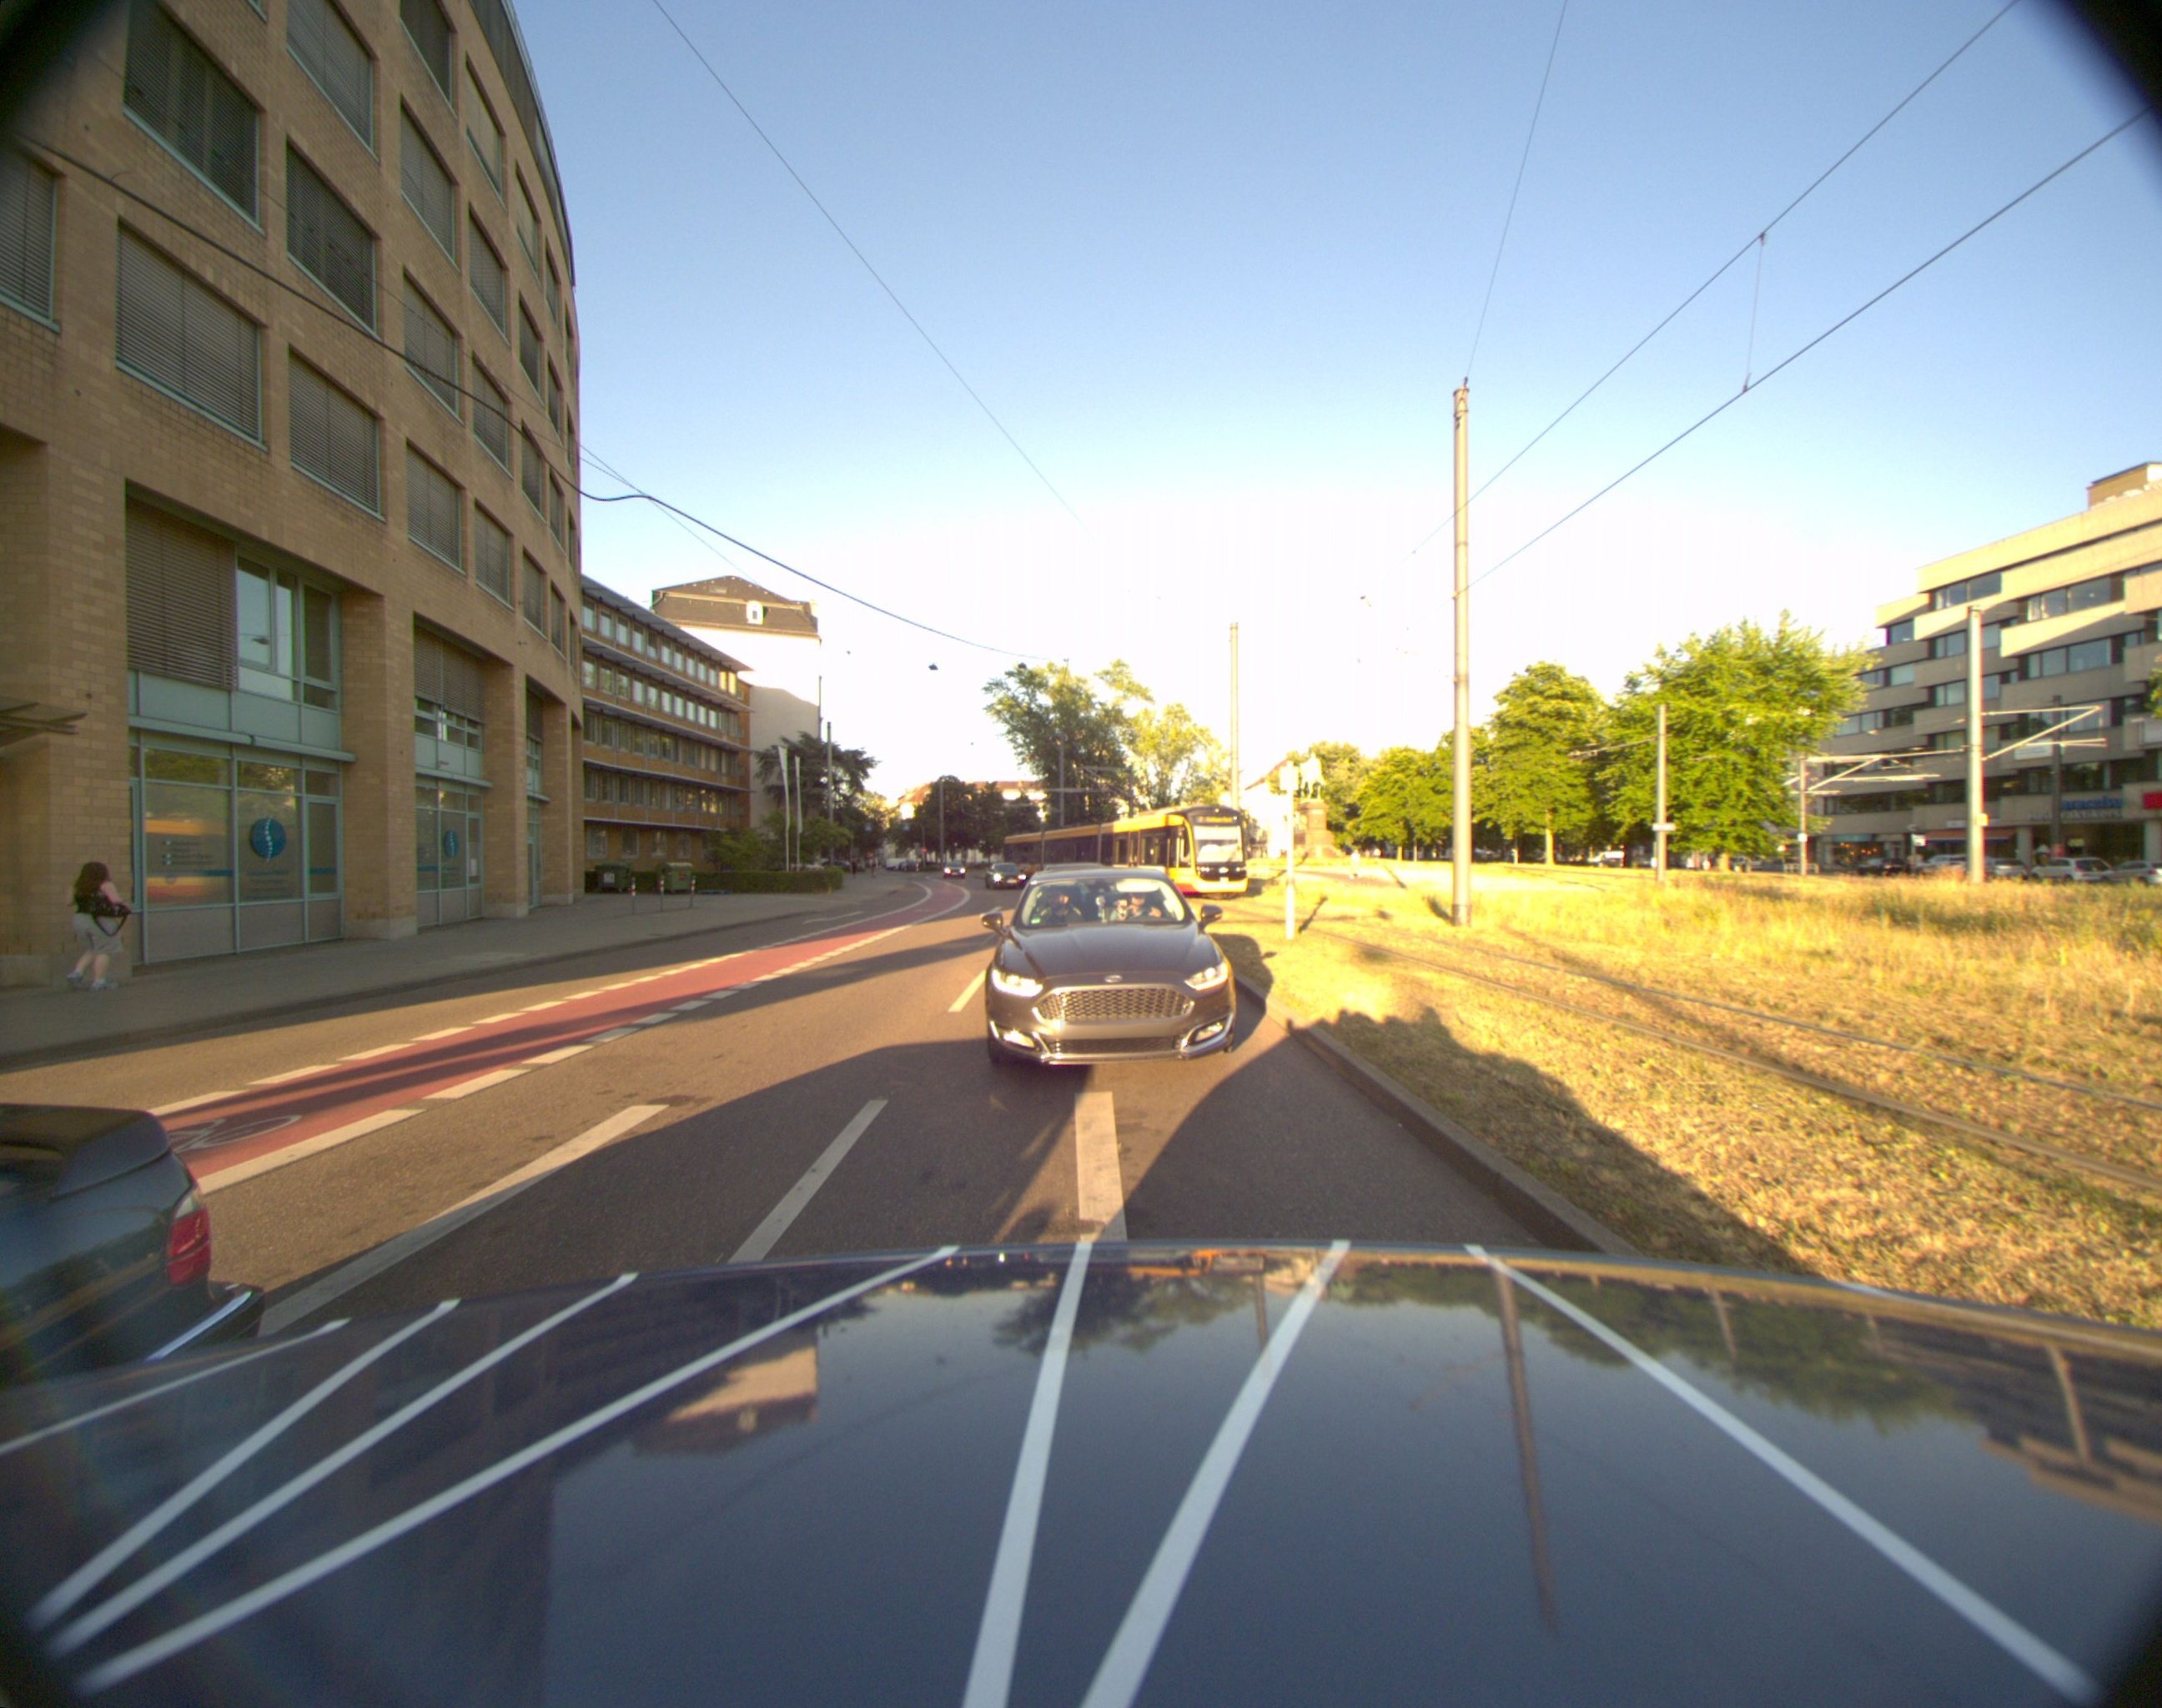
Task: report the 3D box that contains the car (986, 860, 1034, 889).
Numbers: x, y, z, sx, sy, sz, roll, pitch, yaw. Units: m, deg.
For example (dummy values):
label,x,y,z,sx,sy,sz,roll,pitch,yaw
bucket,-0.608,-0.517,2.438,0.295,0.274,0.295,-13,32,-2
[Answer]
label,x,y,z,sx,sy,sz,roll,pitch,yaw
car,-3.953,1.071,41.854,2.001,1.453,4.138,-1,0,-14

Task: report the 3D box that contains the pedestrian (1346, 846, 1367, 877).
label,x,y,z,sx,sy,sz,roll,pitch,yaw
pedestrian,15.479,0.394,42.692,0.891,1.718,0.797,-1,1,1

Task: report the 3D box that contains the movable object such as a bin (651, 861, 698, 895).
label,x,y,z,sx,sy,sz,roll,pitch,yaw
movable object such as a bin,-18.271,1.057,34.205,1.427,1.450,1.332,-1,0,-3

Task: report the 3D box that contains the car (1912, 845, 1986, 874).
label,x,y,z,sx,sy,sz,roll,pitch,yaw
car,61.332,0.378,53.774,1.995,1.925,4.007,-1,0,24

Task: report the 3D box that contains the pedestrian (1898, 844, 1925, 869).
label,x,y,z,sx,sy,sz,roll,pitch,yaw
pedestrian,65.754,0.194,60.172,1.138,2.023,0.892,-1,1,3

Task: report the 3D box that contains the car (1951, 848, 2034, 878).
label,x,y,z,sx,sy,sz,roll,pitch,yaw
car,58.830,0.563,49.144,1.995,1.868,4.007,0,0,27

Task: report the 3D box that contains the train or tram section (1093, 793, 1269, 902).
label,x,y,z,sx,sy,sz,roll,pitch,yaw
train or tram section,3.588,-0.242,32.552,2.919,3.717,13.202,-1,0,-13

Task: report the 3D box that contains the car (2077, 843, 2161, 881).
label,x,y,z,sx,sy,sz,roll,pitch,yaw
car,54.164,0.393,38.998,1.921,1.853,4.006,-1,0,23

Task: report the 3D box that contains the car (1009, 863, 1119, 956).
label,x,y,z,sx,sy,sz,roll,pitch,yaw
car,-0.250,0.989,15.452,1.897,1.526,4.705,-1,0,1

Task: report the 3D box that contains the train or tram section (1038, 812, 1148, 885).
label,x,y,z,sx,sy,sz,roll,pitch,yaw
train or tram section,0.311,-0.301,44.939,2.889,3.717,12.165,-1,0,-17

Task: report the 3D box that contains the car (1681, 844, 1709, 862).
label,x,y,z,sx,sy,sz,roll,pitch,yaw
car,72.163,-0.161,89.384,1.995,2.002,4.007,-2,1,32

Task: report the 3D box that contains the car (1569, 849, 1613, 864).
label,x,y,z,sx,sy,sz,roll,pitch,yaw
car,61.652,0.271,91.962,3.992,1.745,1.970,-1,0,16

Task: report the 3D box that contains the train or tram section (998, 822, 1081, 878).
label,x,y,z,sx,sy,sz,roll,pitch,yaw
train or tram section,-3.381,-0.267,56.257,2.917,3.717,12.171,-1,0,-19

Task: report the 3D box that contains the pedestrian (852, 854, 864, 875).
label,x,y,z,sx,sy,sz,roll,pitch,yaw
pedestrian,-18.773,0.864,63.880,0.728,1.797,0.724,-1,1,1

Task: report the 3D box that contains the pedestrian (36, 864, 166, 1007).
label,x,y,z,sx,sy,sz,roll,pitch,yaw
pedestrian,-12.039,0.973,9.357,0.628,1.672,0.713,-1,1,-3

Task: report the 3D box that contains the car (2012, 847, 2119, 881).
label,x,y,z,sx,sy,sz,roll,pitch,yaw
car,56.304,0.555,43.567,1.995,1.868,4.006,-1,0,22

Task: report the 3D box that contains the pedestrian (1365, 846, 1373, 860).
label,x,y,z,sx,sy,sz,roll,pitch,yaw
pedestrian,34.760,-0.169,91.771,0.711,1.660,0.635,-1,1,1

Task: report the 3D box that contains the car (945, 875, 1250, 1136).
label,x,y,z,sx,sy,sz,roll,pitch,yaw
car,0.144,1.012,7.086,1.890,1.477,4.725,0,0,1

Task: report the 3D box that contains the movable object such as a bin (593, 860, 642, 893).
label,x,y,z,sx,sy,sz,roll,pitch,yaw
movable object such as a bin,-21.187,1.029,34.745,1.427,1.450,1.332,-1,0,-2

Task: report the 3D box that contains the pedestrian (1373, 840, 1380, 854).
label,x,y,z,sx,sy,sz,roll,pitch,yaw
pedestrian,35.614,-0.798,91.564,0.535,1.684,0.512,-1,1,1

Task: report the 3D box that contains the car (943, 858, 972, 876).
label,x,y,z,sx,sy,sz,roll,pitch,yaw
car,-10.523,1.077,64.932,1.759,1.379,3.999,-3,0,-1

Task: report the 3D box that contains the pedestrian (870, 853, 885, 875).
label,x,y,z,sx,sy,sz,roll,pitch,yaw
pedestrian,-17.417,0.834,64.888,0.913,1.883,1.123,-1,1,-32
